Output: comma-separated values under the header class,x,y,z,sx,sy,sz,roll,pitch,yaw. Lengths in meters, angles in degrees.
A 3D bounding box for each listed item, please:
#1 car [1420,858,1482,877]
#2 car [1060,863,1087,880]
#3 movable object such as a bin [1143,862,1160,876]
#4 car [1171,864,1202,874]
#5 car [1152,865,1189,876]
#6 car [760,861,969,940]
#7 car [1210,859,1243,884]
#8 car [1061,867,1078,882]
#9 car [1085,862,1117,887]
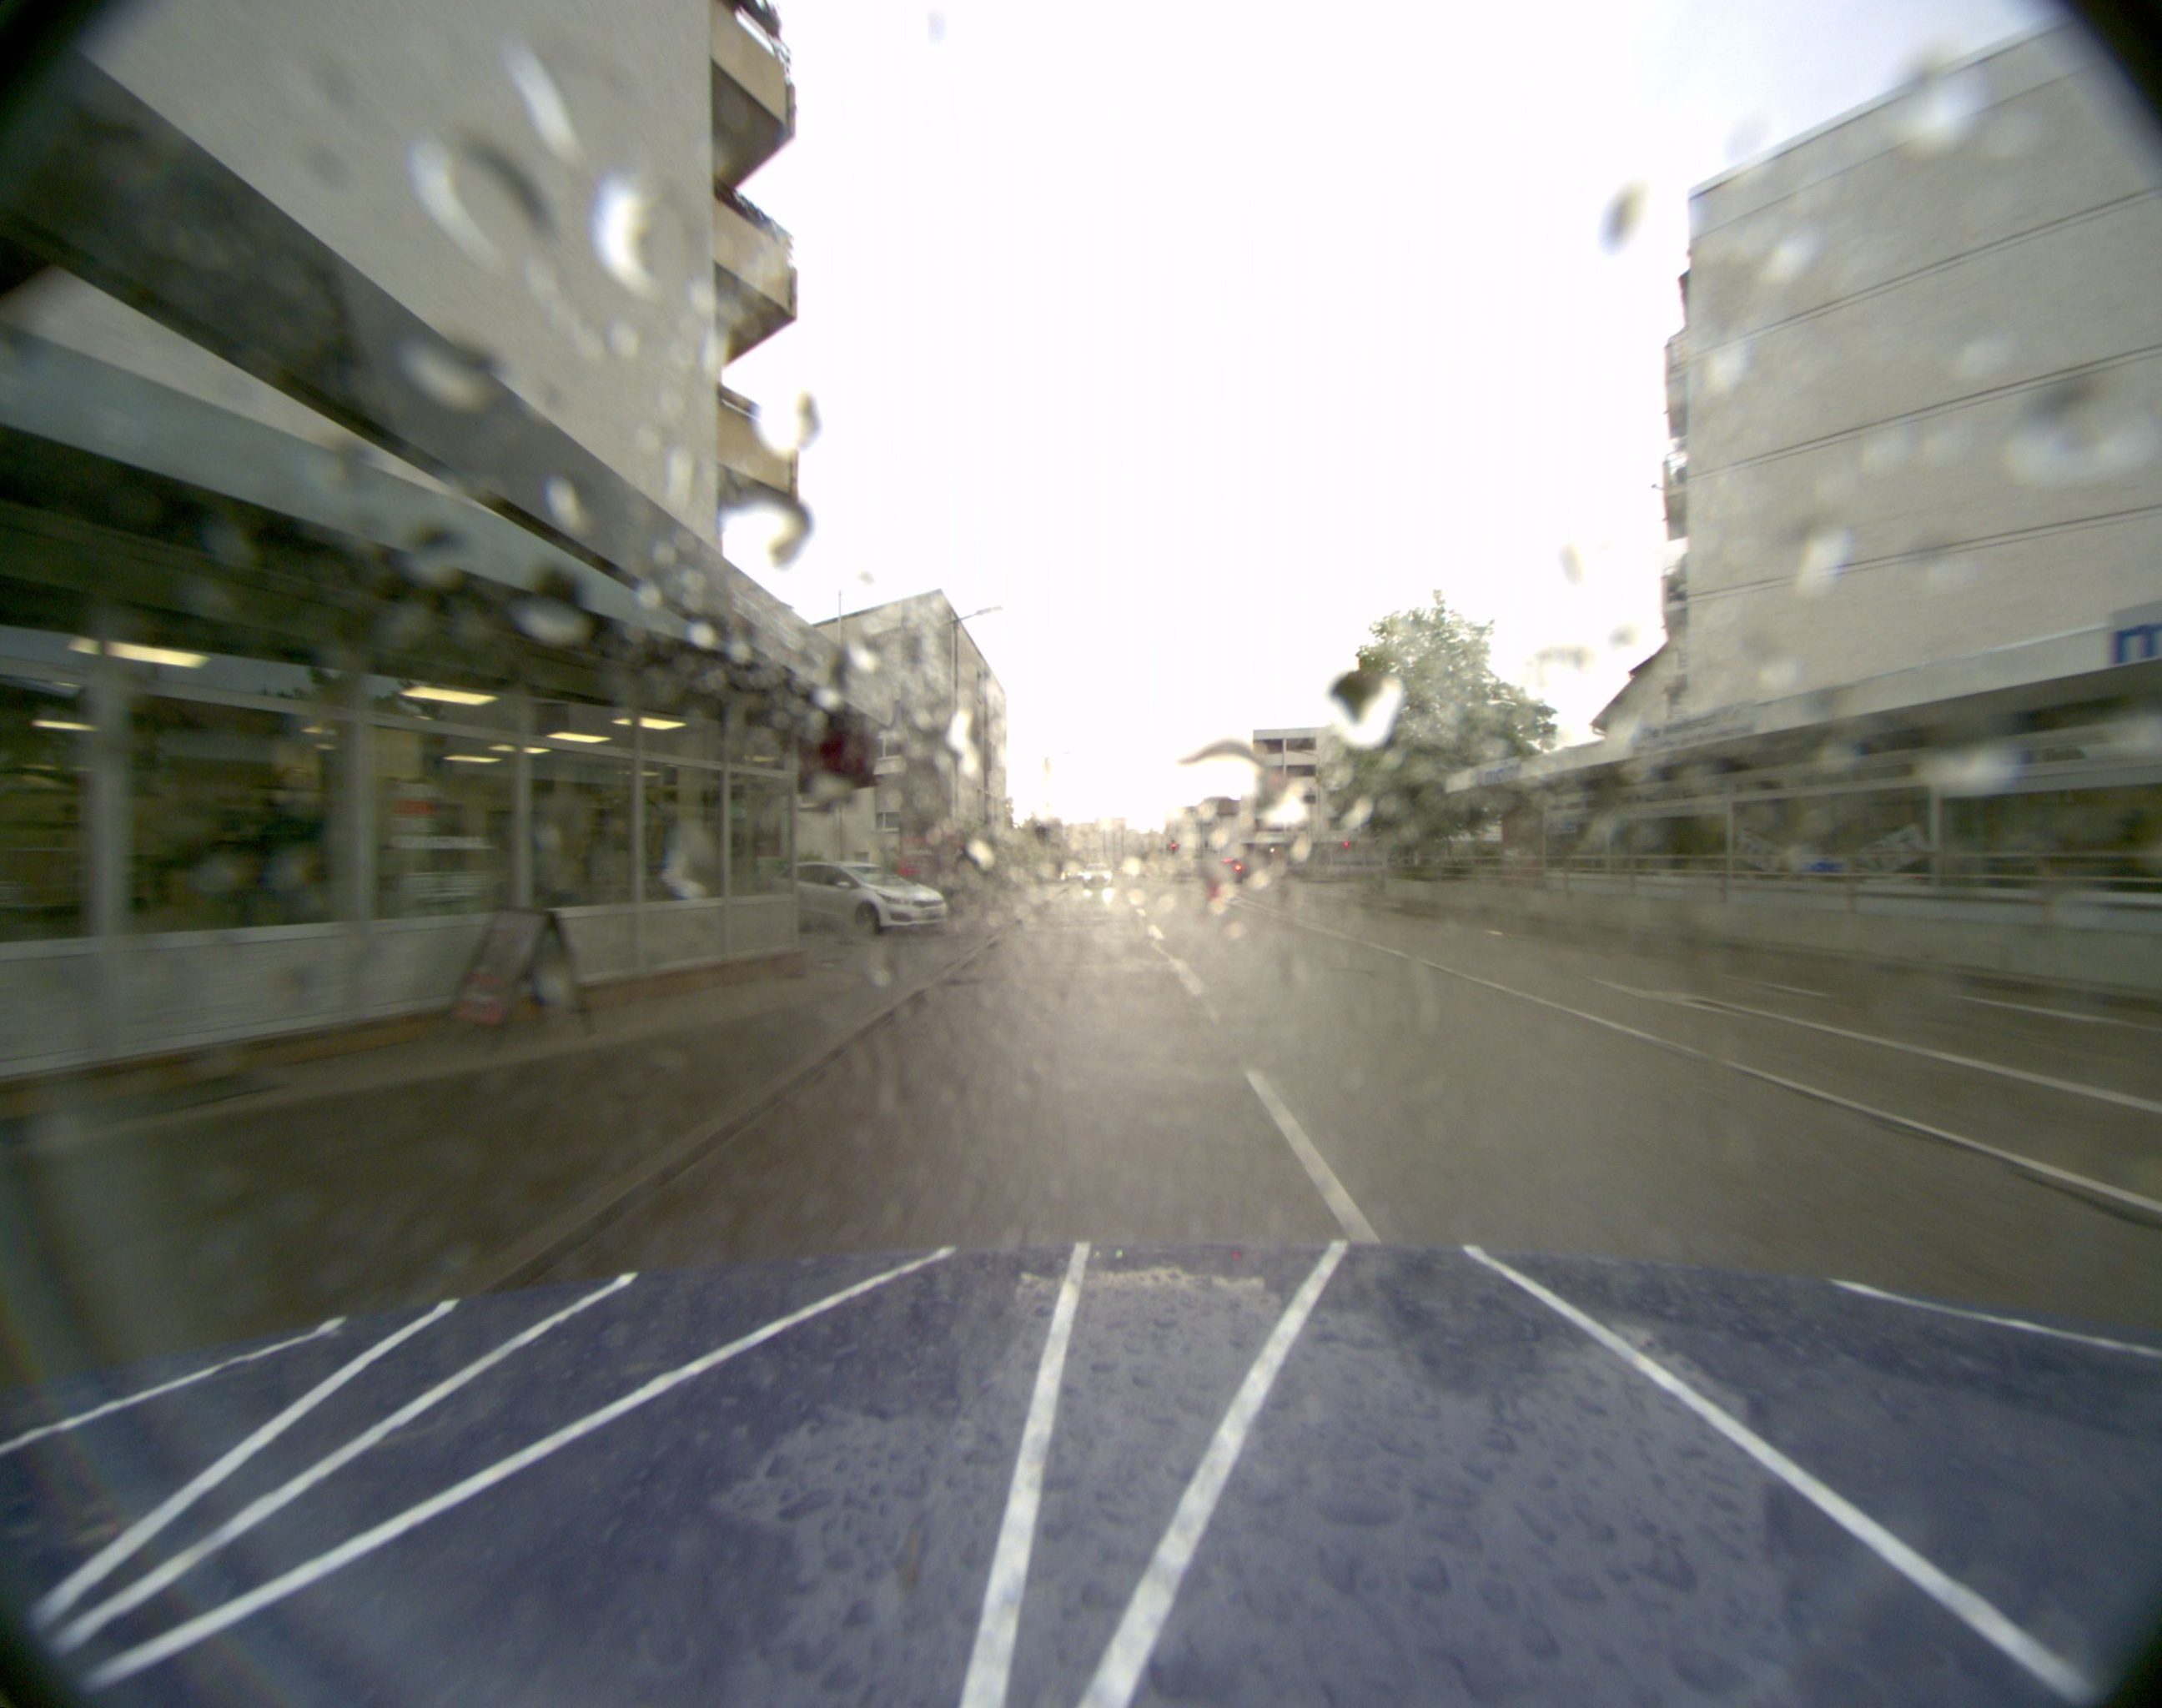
class,x,y,z,sx,sy,sz,roll,pitch,yaw
car,30.071,1.116,61.790,4.276,1.426,1.838,-2,-1,35
car,-0.893,1.943,85.367,2.001,1.848,3.994,1,-1,-16
movable object such as a bin,14.538,3.070,156.541,2.921,2.824,2.200,-1,-1,18
car,16.282,2.271,117.107,4.621,1.487,1.930,-1,-1,5
car,14.304,2.599,121.676,5.466,1.673,2.152,-1,-1,28
car,-4.677,0.946,16.268,4.259,1.485,1.877,-2,-2,31
car,9.692,1.146,50.754,1.806,1.547,4.321,-1,-1,6
car,-1.593,2.902,107.865,1.998,2.001,4.002,-1,-1,5
car,1.190,1.265,46.878,1.829,1.431,4.346,-1,-1,1
